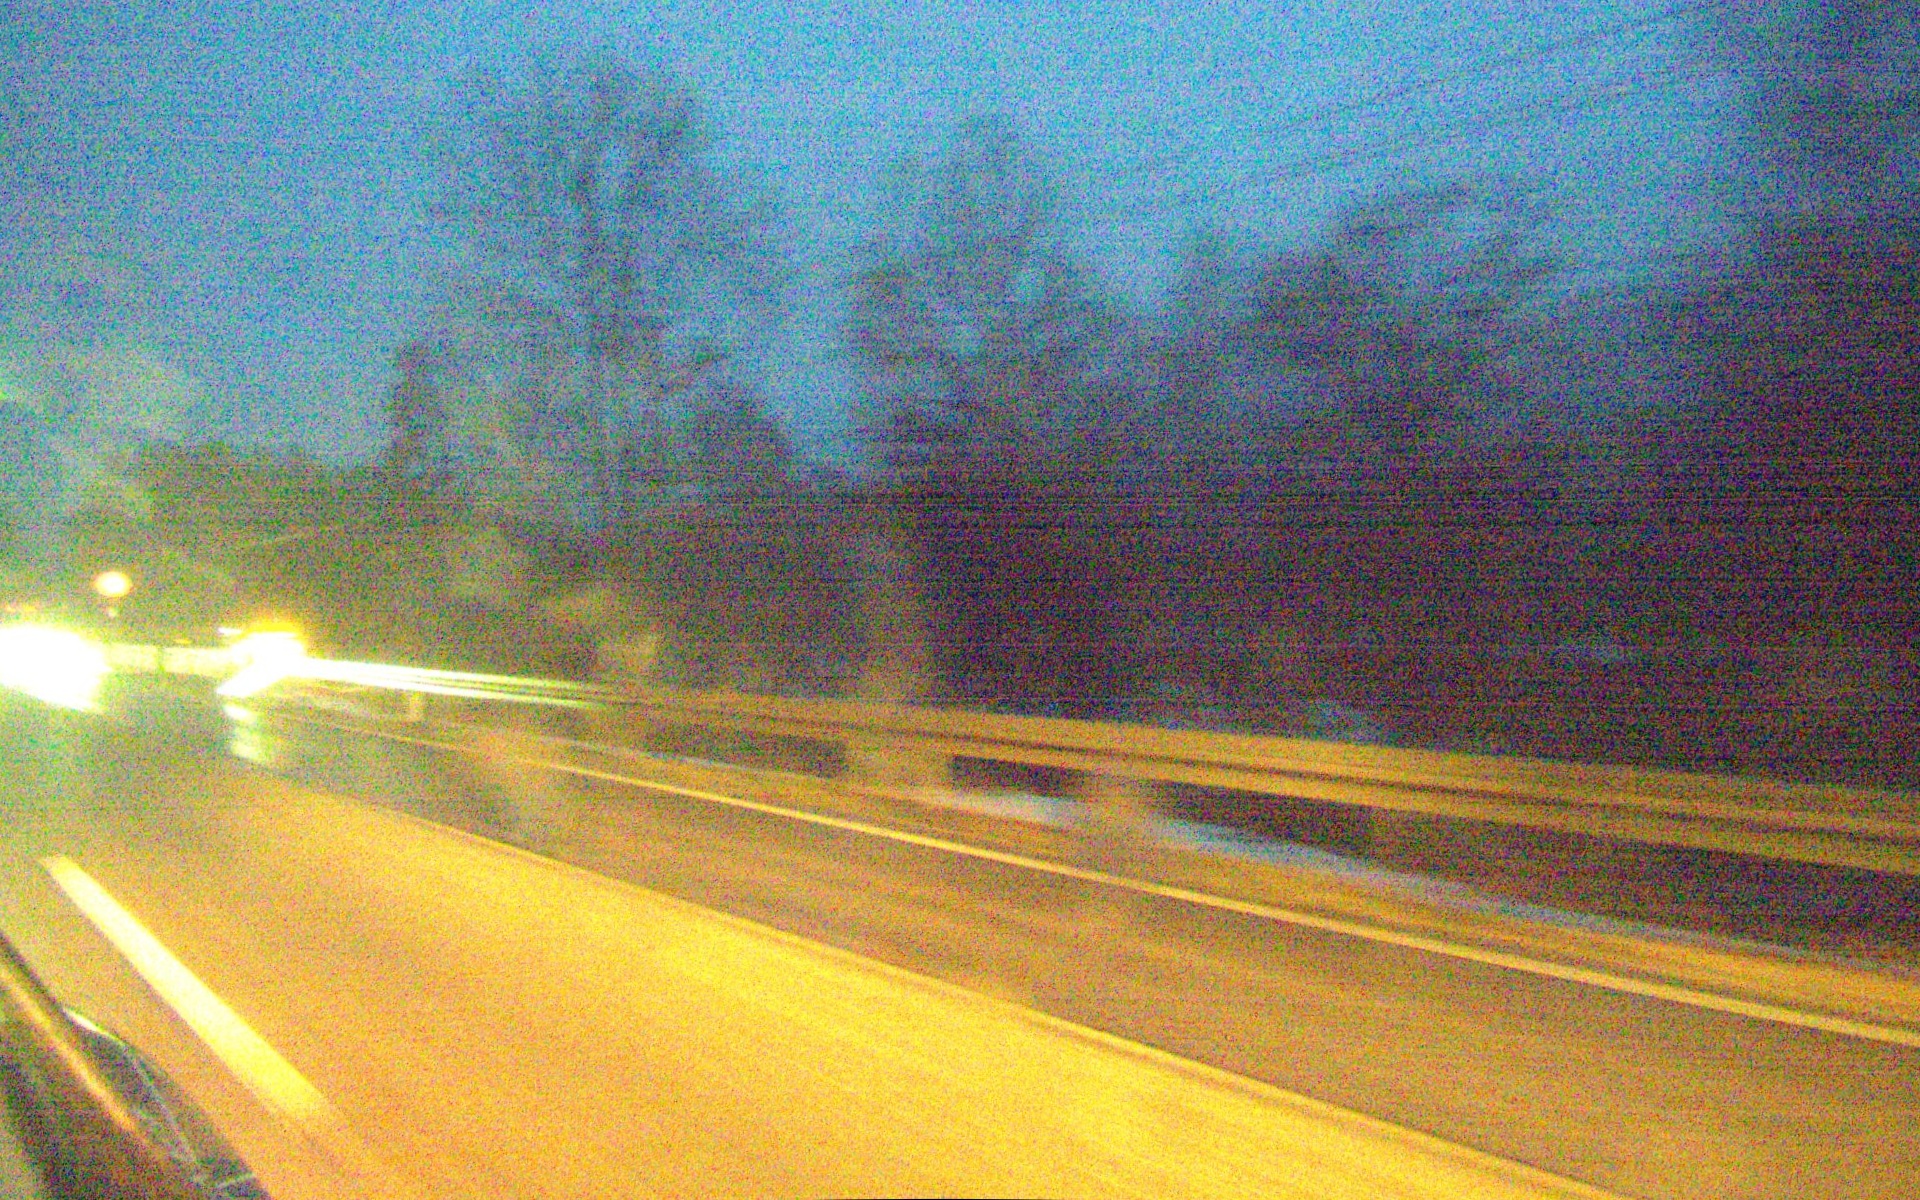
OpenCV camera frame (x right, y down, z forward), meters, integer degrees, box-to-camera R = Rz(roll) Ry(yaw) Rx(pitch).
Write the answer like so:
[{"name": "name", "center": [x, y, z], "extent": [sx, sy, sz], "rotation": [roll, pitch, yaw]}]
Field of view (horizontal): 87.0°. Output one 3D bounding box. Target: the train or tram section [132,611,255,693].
[{"name": "train or tram section", "center": [-35.812, 2.309, 47.169], "extent": [8.547, 3.486, 2.815], "rotation": [-1, -1, 40]}]

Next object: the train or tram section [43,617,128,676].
[{"name": "train or tram section", "center": [-55.317, 2.845, 63.953], "extent": [8.547, 3.486, 2.815], "rotation": [-1, -1, 40]}]

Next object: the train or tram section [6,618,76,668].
[{"name": "train or tram section", "center": [-68.285, 3.096, 75.113], "extent": [8.547, 3.486, 2.815], "rotation": [-1, -1, 40]}]

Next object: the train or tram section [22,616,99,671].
[{"name": "train or tram section", "center": [-61.817, 2.913, 69.500], "extent": [8.547, 3.486, 2.815], "rotation": [-1, -1, 40]}]

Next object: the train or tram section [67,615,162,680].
[{"name": "train or tram section", "center": [-48.858, 2.661, 58.372], "extent": [8.547, 3.486, 2.815], "rotation": [-1, -1, 40]}]

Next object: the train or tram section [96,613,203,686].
[{"name": "train or tram section", "center": [-42.348, 2.471, 52.773], "extent": [8.547, 3.486, 2.815], "rotation": [-1, -1, 40]}]

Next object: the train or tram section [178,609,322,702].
[{"name": "train or tram section", "center": [-29.315, 2.156, 41.604], "extent": [8.547, 3.486, 2.815], "rotation": [-1, -1, 40]}]

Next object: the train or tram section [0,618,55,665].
[{"name": "train or tram section", "center": [-74.786, 3.241, 80.688], "extent": [8.547, 3.486, 2.815], "rotation": [-1, -1, 40]}]
